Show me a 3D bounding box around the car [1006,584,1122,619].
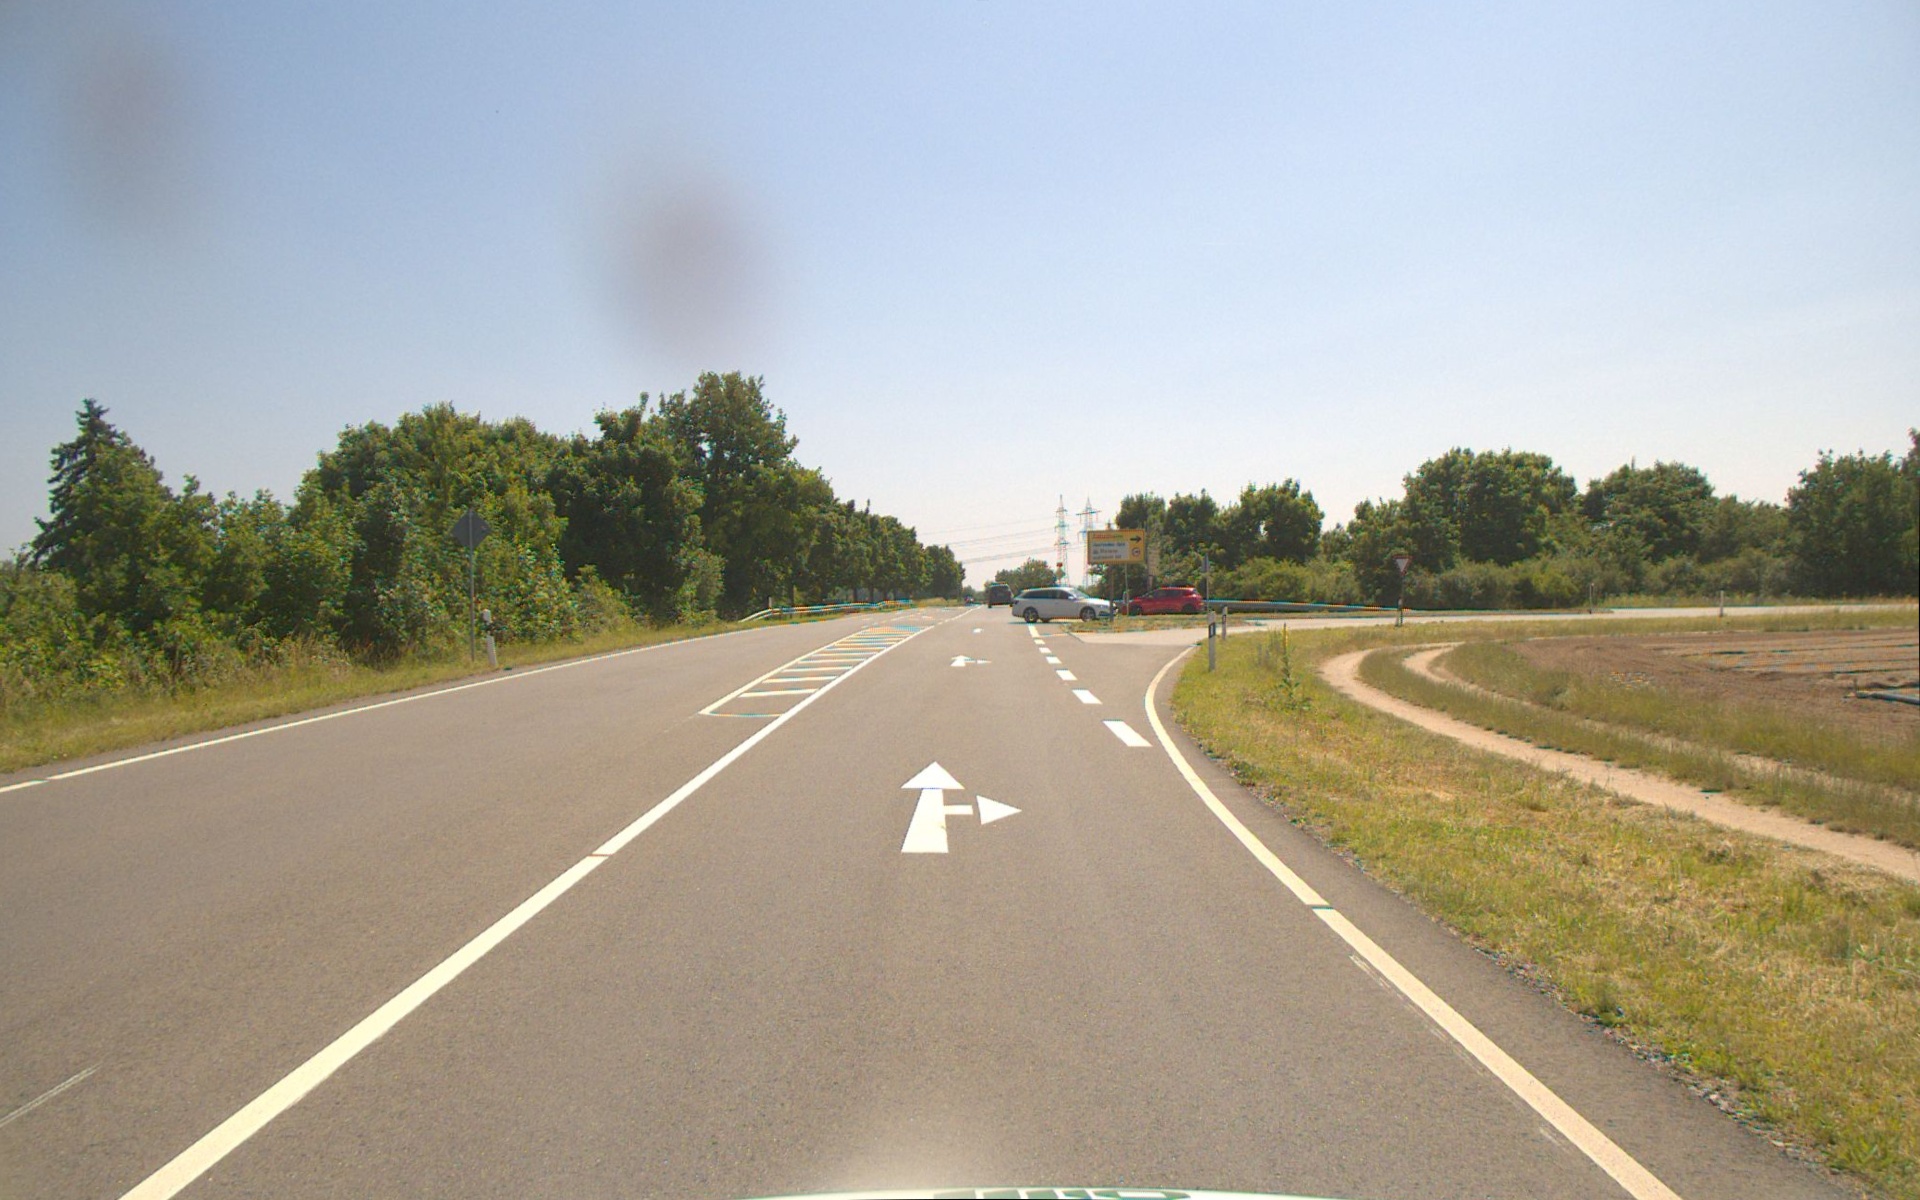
[{"bbox_3d":[4.425,0.061,70.612,4.609,1.443,1.839,1,0,27],"label":"car"}]

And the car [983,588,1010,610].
[{"bbox_3d":[2.702,-0.076,123.198,1.846,1.544,4.039,0,0,0],"label":"car"}]

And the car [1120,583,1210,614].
[{"bbox_3d":[9.899,-0.051,79.751,4.064,1.443,1.781,-1,0,15],"label":"car"}]
